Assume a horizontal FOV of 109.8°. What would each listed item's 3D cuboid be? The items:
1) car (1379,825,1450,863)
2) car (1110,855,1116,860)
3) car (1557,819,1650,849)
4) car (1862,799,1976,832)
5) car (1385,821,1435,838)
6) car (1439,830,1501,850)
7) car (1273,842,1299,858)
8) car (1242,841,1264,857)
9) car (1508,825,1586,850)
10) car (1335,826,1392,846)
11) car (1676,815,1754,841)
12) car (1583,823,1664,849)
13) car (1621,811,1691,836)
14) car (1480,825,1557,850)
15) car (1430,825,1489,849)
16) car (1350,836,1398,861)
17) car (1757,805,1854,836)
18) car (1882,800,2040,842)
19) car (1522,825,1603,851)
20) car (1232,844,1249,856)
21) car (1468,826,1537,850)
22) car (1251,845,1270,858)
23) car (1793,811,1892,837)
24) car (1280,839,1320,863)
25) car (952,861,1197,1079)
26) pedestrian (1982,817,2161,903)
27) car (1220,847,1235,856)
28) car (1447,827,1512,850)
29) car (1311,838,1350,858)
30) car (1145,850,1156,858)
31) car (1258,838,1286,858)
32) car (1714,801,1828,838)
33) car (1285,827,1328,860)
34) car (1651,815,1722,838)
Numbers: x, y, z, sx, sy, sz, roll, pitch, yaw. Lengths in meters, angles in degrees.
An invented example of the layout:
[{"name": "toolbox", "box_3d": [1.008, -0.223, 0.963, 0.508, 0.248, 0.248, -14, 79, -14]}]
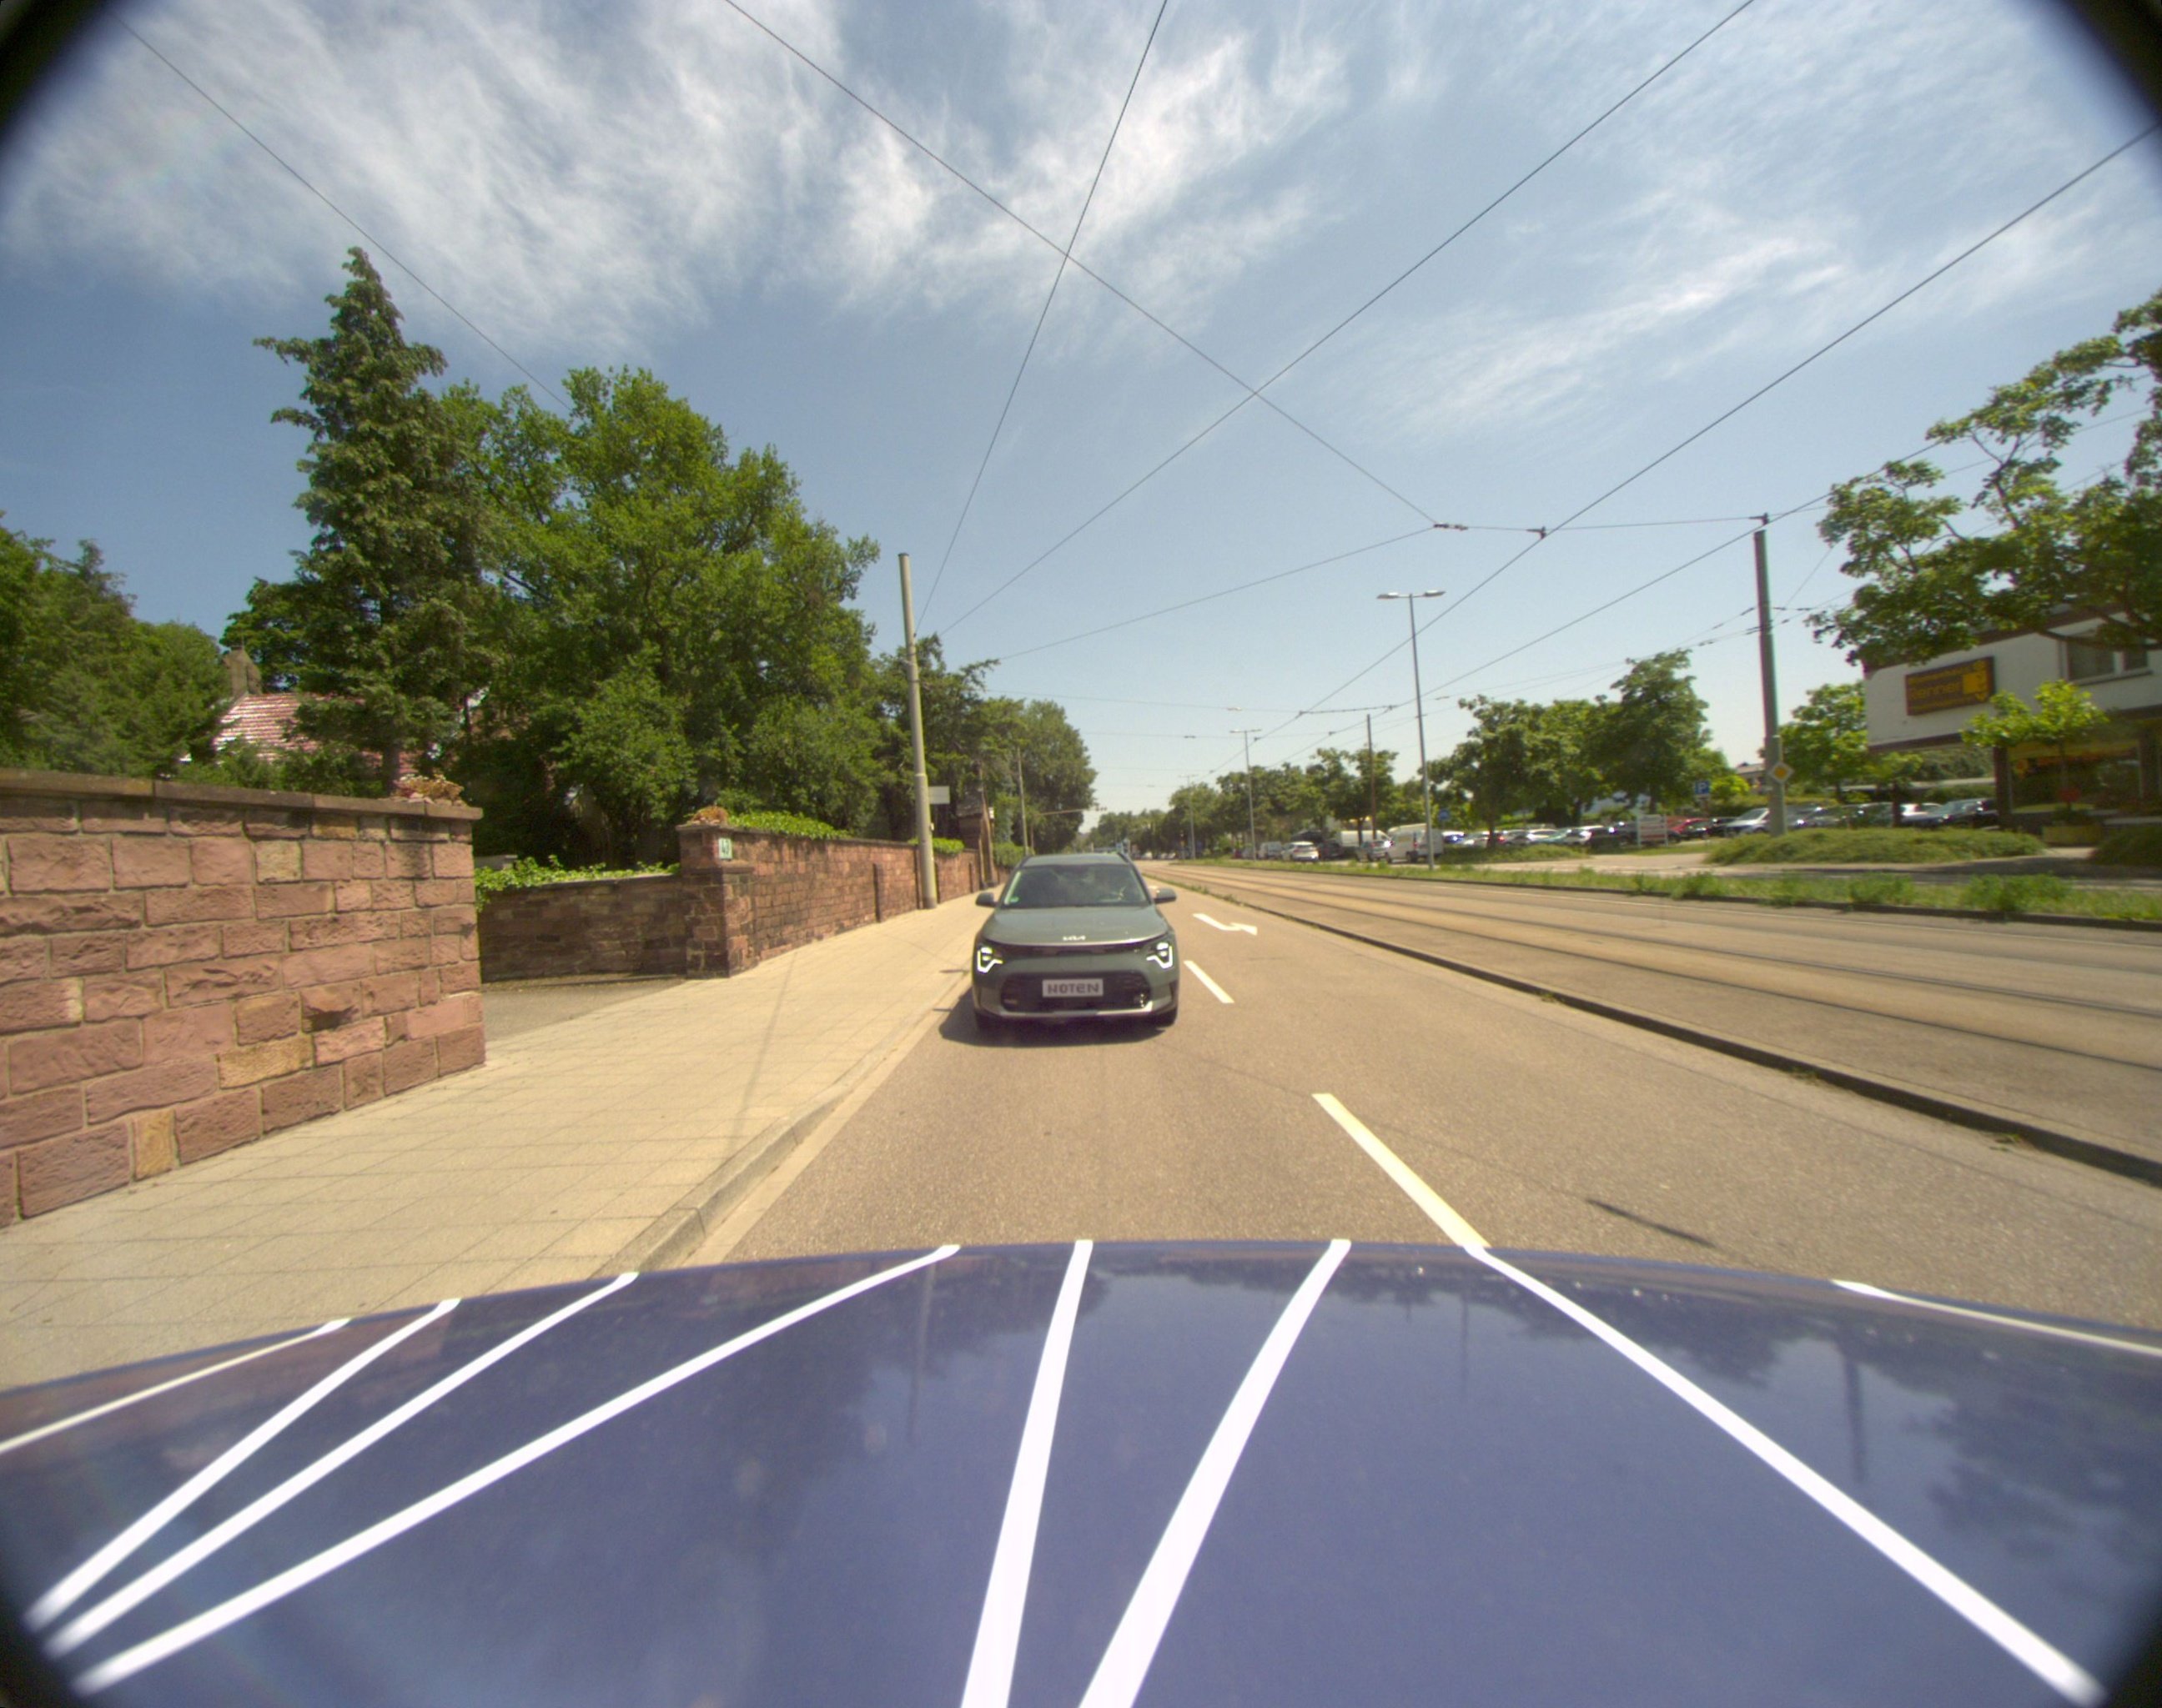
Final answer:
[{"name": "car", "box_3d": [20.167, -0.590, 46.270, 1.880, 1.999, 5.344, -6, 0, 2]}, {"name": "car", "box_3d": [10.770, 1.128, 256.956, 1.820, 1.471, 3.423, -2, 1, 3]}, {"name": "car", "box_3d": [31.187, -1.170, 45.459, 4.171, 1.481, 1.984, -3, 0, -1]}, {"name": "car", "box_3d": [43.956, -2.013, 39.924, 3.996, 1.511, 1.661, -2, 1, 3]}, {"name": "car", "box_3d": [44.596, -3.361, 103.041, 5.744, 2.051, 2.147, -2, 1, -2]}, {"name": "car", "box_3d": [31.247, -1.144, 61.099, 3.998, 1.398, 1.797, -2, 0, -3]}, {"name": "car", "box_3d": [20.691, -0.413, 76.734, 1.767, 1.456, 3.608, -2, 1, 2]}, {"name": "car", "box_3d": [20.966, -0.633, 92.819, 1.635, 1.882, 4.496, -2, 1, 1]}, {"name": "car", "box_3d": [30.997, -1.108, 50.600, 4.146, 1.481, 1.859, -2, 1, -6]}, {"name": "car", "box_3d": [30.799, -1.911, 82.832, 5.434, 1.945, 2.029, -2, 1, 2]}, {"name": "car", "box_3d": [43.906, -1.802, 52.666, 3.997, 1.576, 1.684, -2, 1, -1]}, {"name": "car", "box_3d": [30.589, -0.989, 42.893, 3.423, 1.225, 1.643, -3, 0, -6]}, {"name": "car", "box_3d": [43.803, -2.289, 57.923, 4.129, 1.643, 1.692, -3, 0, -5]}, {"name": "car", "box_3d": [30.493, -1.133, 53.013, 4.163, 1.481, 2.023, -3, 0, -6]}, {"name": "car", "box_3d": [31.698, -1.400, 63.752, 3.998, 1.708, 1.797, -3, 0, -3]}, {"name": "car", "box_3d": [20.212, -0.372, 52.601, 1.654, 1.494, 4.125, -6, 0, 1]}, {"name": "car", "box_3d": [43.327, -1.998, 45.487, 3.996, 1.647, 1.803, -2, 1, 3]}, {"name": "car", "box_3d": [34.090, -1.268, 29.512, 3.996, 1.289, 1.682, -4, 0, 2]}, {"name": "car", "box_3d": [30.470, -1.024, 48.145, 4.040, 1.481, 1.912, -2, 1, -6]}, {"name": "car", "box_3d": [20.833, -0.550, 99.439, 1.582, 1.471, 3.423, -2, 1, 3]}, {"name": "car", "box_3d": [30.930, -1.181, 55.843, 4.075, 1.481, 1.831, -3, 0, -6]}, {"name": "car", "box_3d": [20.735, -0.333, 88.048, 1.429, 1.470, 3.262, -2, 1, 1]}, {"name": "car", "box_3d": [42.815, -1.685, 42.791, 3.724, 1.277, 1.764, -2, 1, 3]}, {"name": "car", "box_3d": [15.965, -0.217, 55.559, 1.728, 1.601, 4.569, -2, 1, 2]}, {"name": "car", "box_3d": [-0.055, 0.909, 7.950, 1.824, 1.577, 4.287, -2, 0, 0]}, {"name": "pedestrian", "box_3d": [26.723, 0.099, 19.688, 1.998, 2.002, 3.999, -2, 1, 0]}, {"name": "car", "box_3d": [21.464, -0.409, 111.403, 1.582, 1.152, 3.423, -2, 1, 3]}, {"name": "car", "box_3d": [30.586, -1.192, 58.337, 3.999, 1.479, 1.866, -3, 0, -6]}, {"name": "car", "box_3d": [20.394, -0.498, 62.316, 1.976, 1.568, 3.752, -2, 1, 1]}, {"name": "car", "box_3d": [16.638, -0.037, 181.915, 1.821, 1.979, 4.212, -2, 1, -3]}, {"name": "car", "box_3d": [20.676, -0.673, 82.583, 1.924, 1.937, 4.817, -2, 1, 2]}, {"name": "car", "box_3d": [43.420, -2.158, 47.908, 5.120, 2.058, 2.226, -2, 1, 1]}, {"name": "car", "box_3d": [20.331, -0.963, 68.677, 2.243, 2.822, 5.667, -2, 1, 1]}, {"name": "car", "box_3d": [44.301, -1.970, 55.645, 3.999, 1.486, 1.715, -2, 1, -5]}]
